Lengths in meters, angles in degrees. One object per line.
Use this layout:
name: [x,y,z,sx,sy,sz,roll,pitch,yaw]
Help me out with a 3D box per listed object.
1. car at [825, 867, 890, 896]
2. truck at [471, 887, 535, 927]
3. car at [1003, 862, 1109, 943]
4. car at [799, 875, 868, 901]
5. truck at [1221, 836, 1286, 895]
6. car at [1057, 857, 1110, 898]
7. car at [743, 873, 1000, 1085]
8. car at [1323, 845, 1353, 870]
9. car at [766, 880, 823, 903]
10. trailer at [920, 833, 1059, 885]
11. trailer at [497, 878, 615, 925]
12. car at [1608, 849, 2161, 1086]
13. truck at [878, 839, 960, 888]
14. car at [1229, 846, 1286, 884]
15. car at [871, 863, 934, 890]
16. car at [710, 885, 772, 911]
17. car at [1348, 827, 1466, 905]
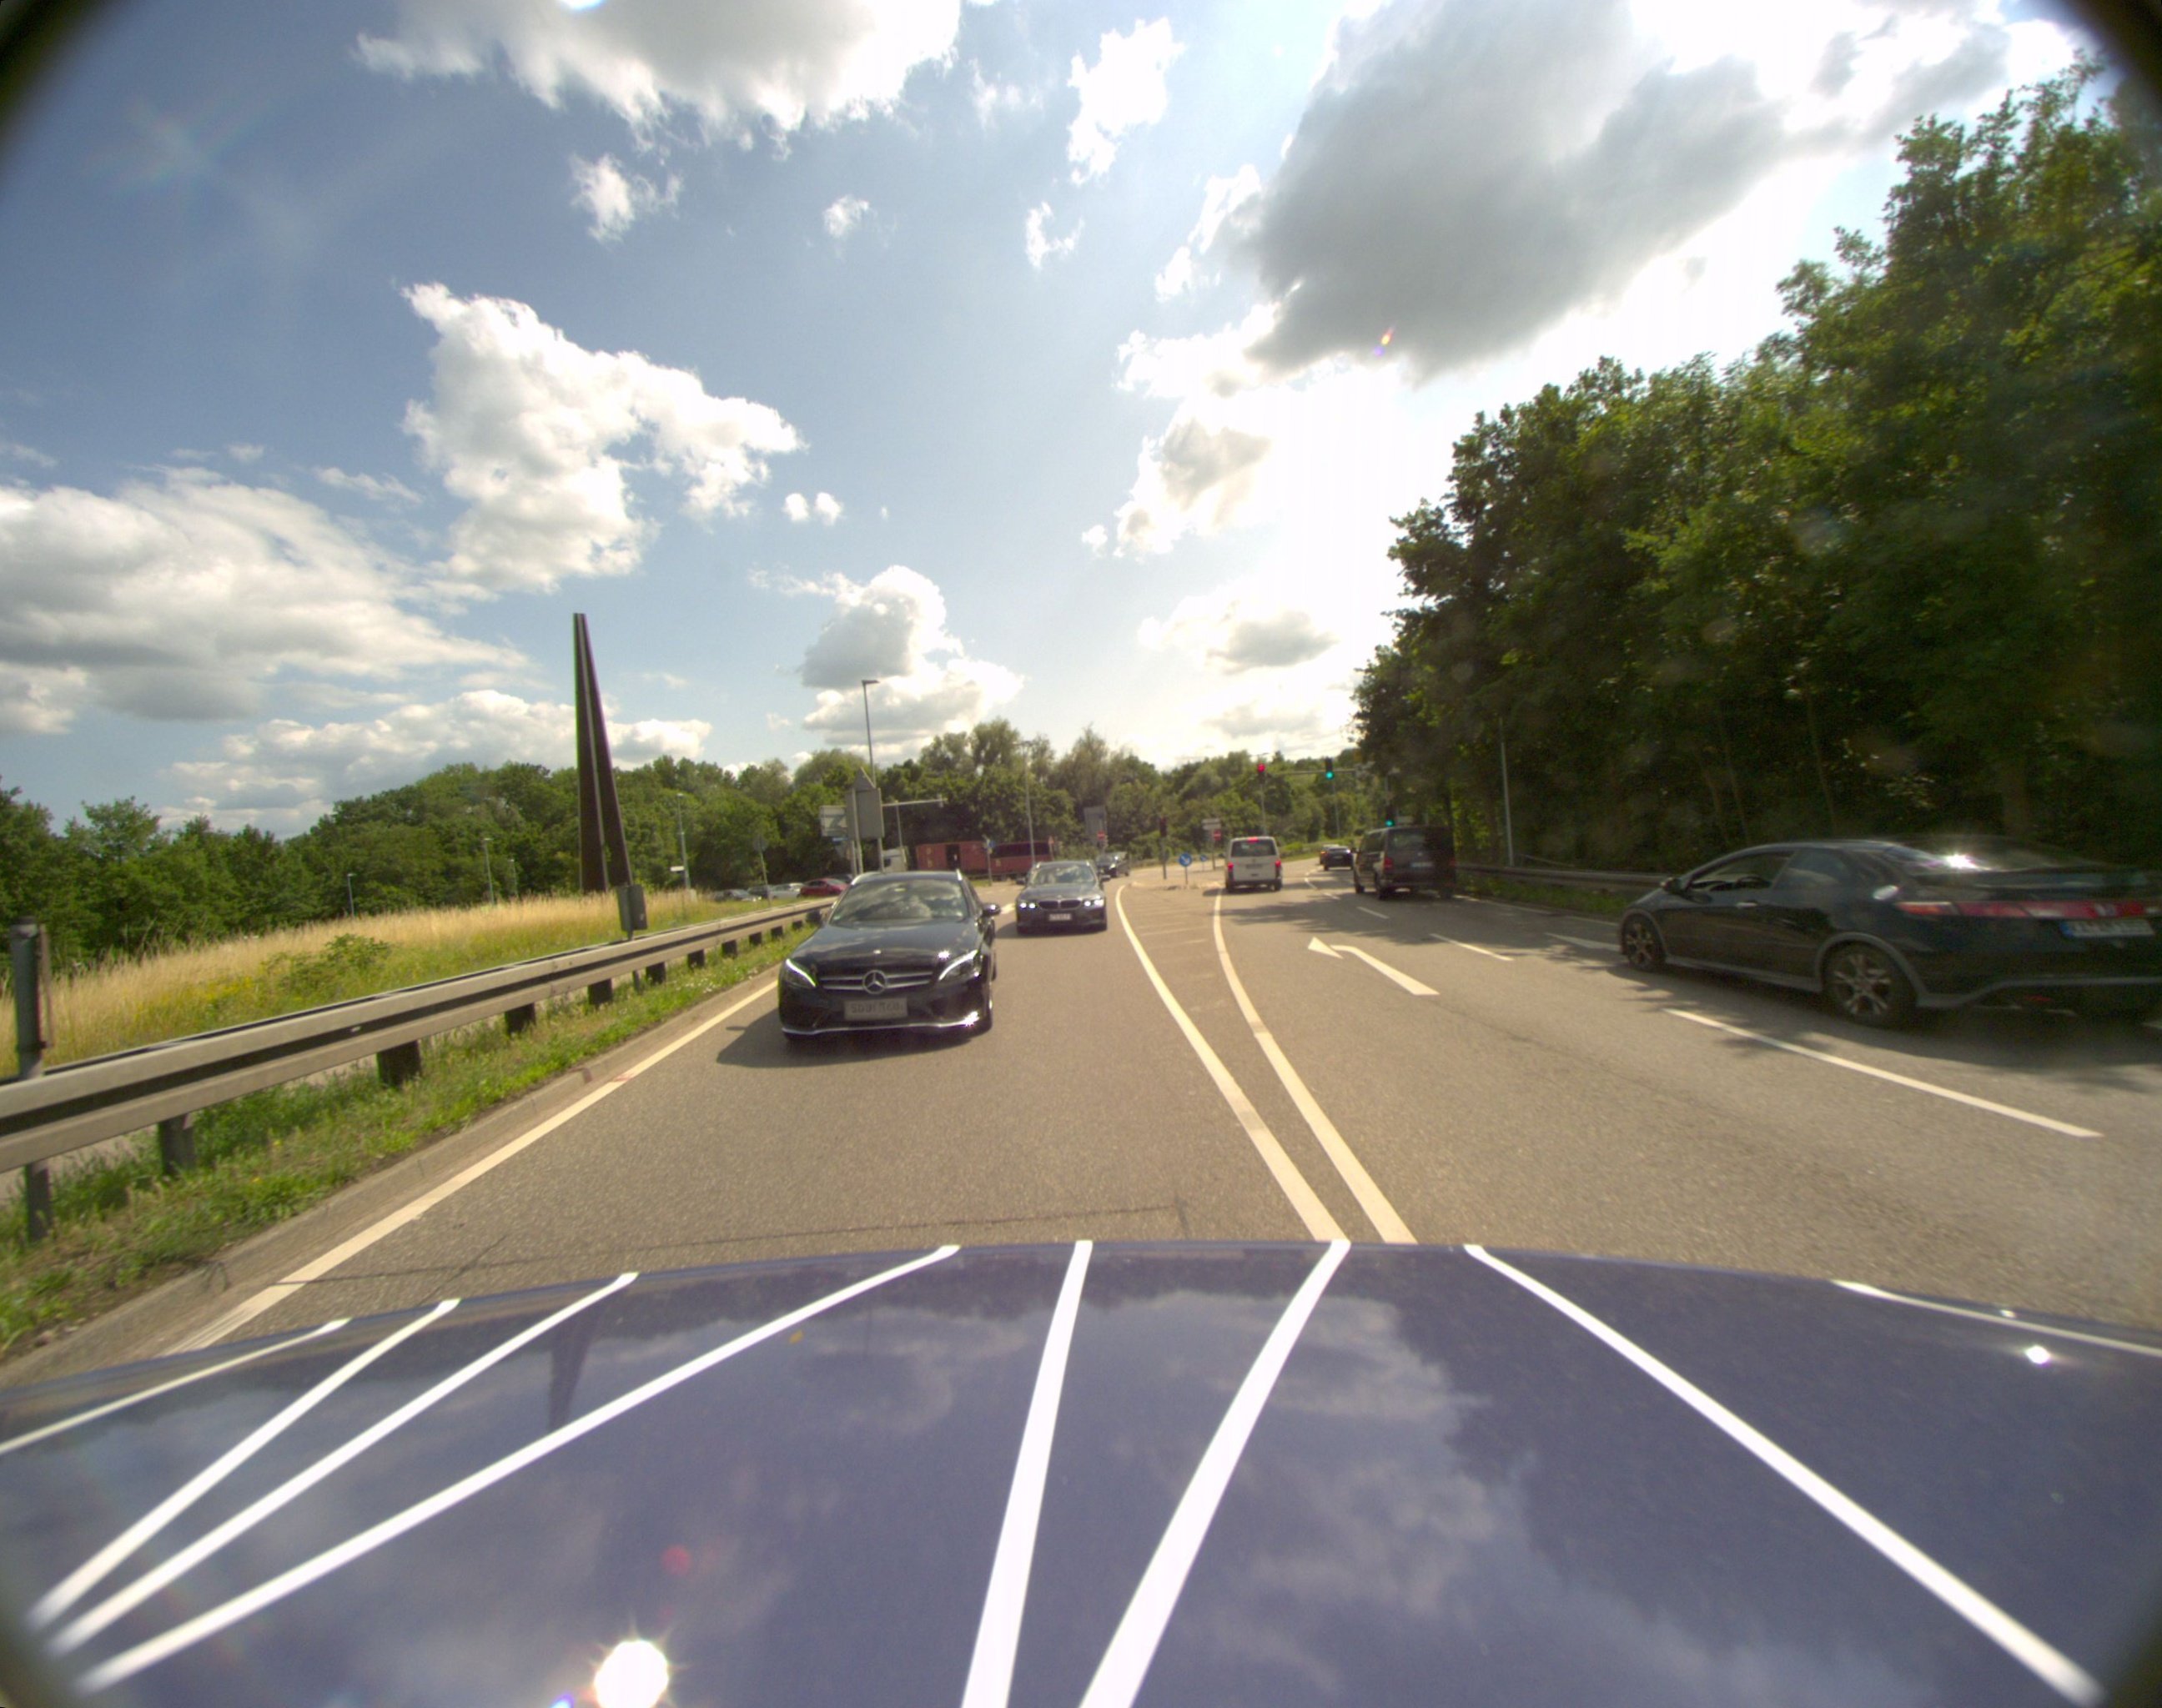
car: [-15.557,1.936,52.903,4.206,1.636,1.841,-5,-1,30]
truck: [-65.123,5.981,85.636,5.866,3.880,2.881,-6,0,21]
car: [-0.409,0.943,16.435,1.858,1.355,4.000,-2,1,4]
car: [-15.992,2.184,49.006,4.206,1.367,1.762,-5,-1,30]
truck: [6.345,0.372,28.473,1.964,1.902,5.373,-3,0,9]
car: [0.167,0.888,30.374,1.858,1.402,4.000,-4,0,2]
car: [-1.880,1.034,8.200,1.796,1.427,4.367,-4,1,-5]
car: [15.658,0.170,46.340,1.637,1.401,4.344,-2,0,19]
car: [-21.393,2.794,56.718,4.206,1.367,1.649,-5,-1,30]
trailer: [-8.431,0.441,70.408,12.327,3.827,2.777,-4,0,-17]
trailer: [-57.411,5.186,82.930,13.821,3.868,2.650,-6,0,19]
car: [6.770,0.698,6.631,1.802,1.381,4.007,-3,0,5]
truck: [-14.577,0.845,68.670,6.821,3.822,2.776,-5,0,-13]
car: [8.072,0.472,35.000,1.702,1.548,3.822,-3,0,1]
car: [-13.279,1.693,56.458,4.285,1.607,1.848,-5,1,30]
car: [-24.314,3.155,54.343,3.991,1.455,1.870,-6,1,29]
car: [9.169,0.292,21.837,1.997,1.902,5.136,-2,0,11]
